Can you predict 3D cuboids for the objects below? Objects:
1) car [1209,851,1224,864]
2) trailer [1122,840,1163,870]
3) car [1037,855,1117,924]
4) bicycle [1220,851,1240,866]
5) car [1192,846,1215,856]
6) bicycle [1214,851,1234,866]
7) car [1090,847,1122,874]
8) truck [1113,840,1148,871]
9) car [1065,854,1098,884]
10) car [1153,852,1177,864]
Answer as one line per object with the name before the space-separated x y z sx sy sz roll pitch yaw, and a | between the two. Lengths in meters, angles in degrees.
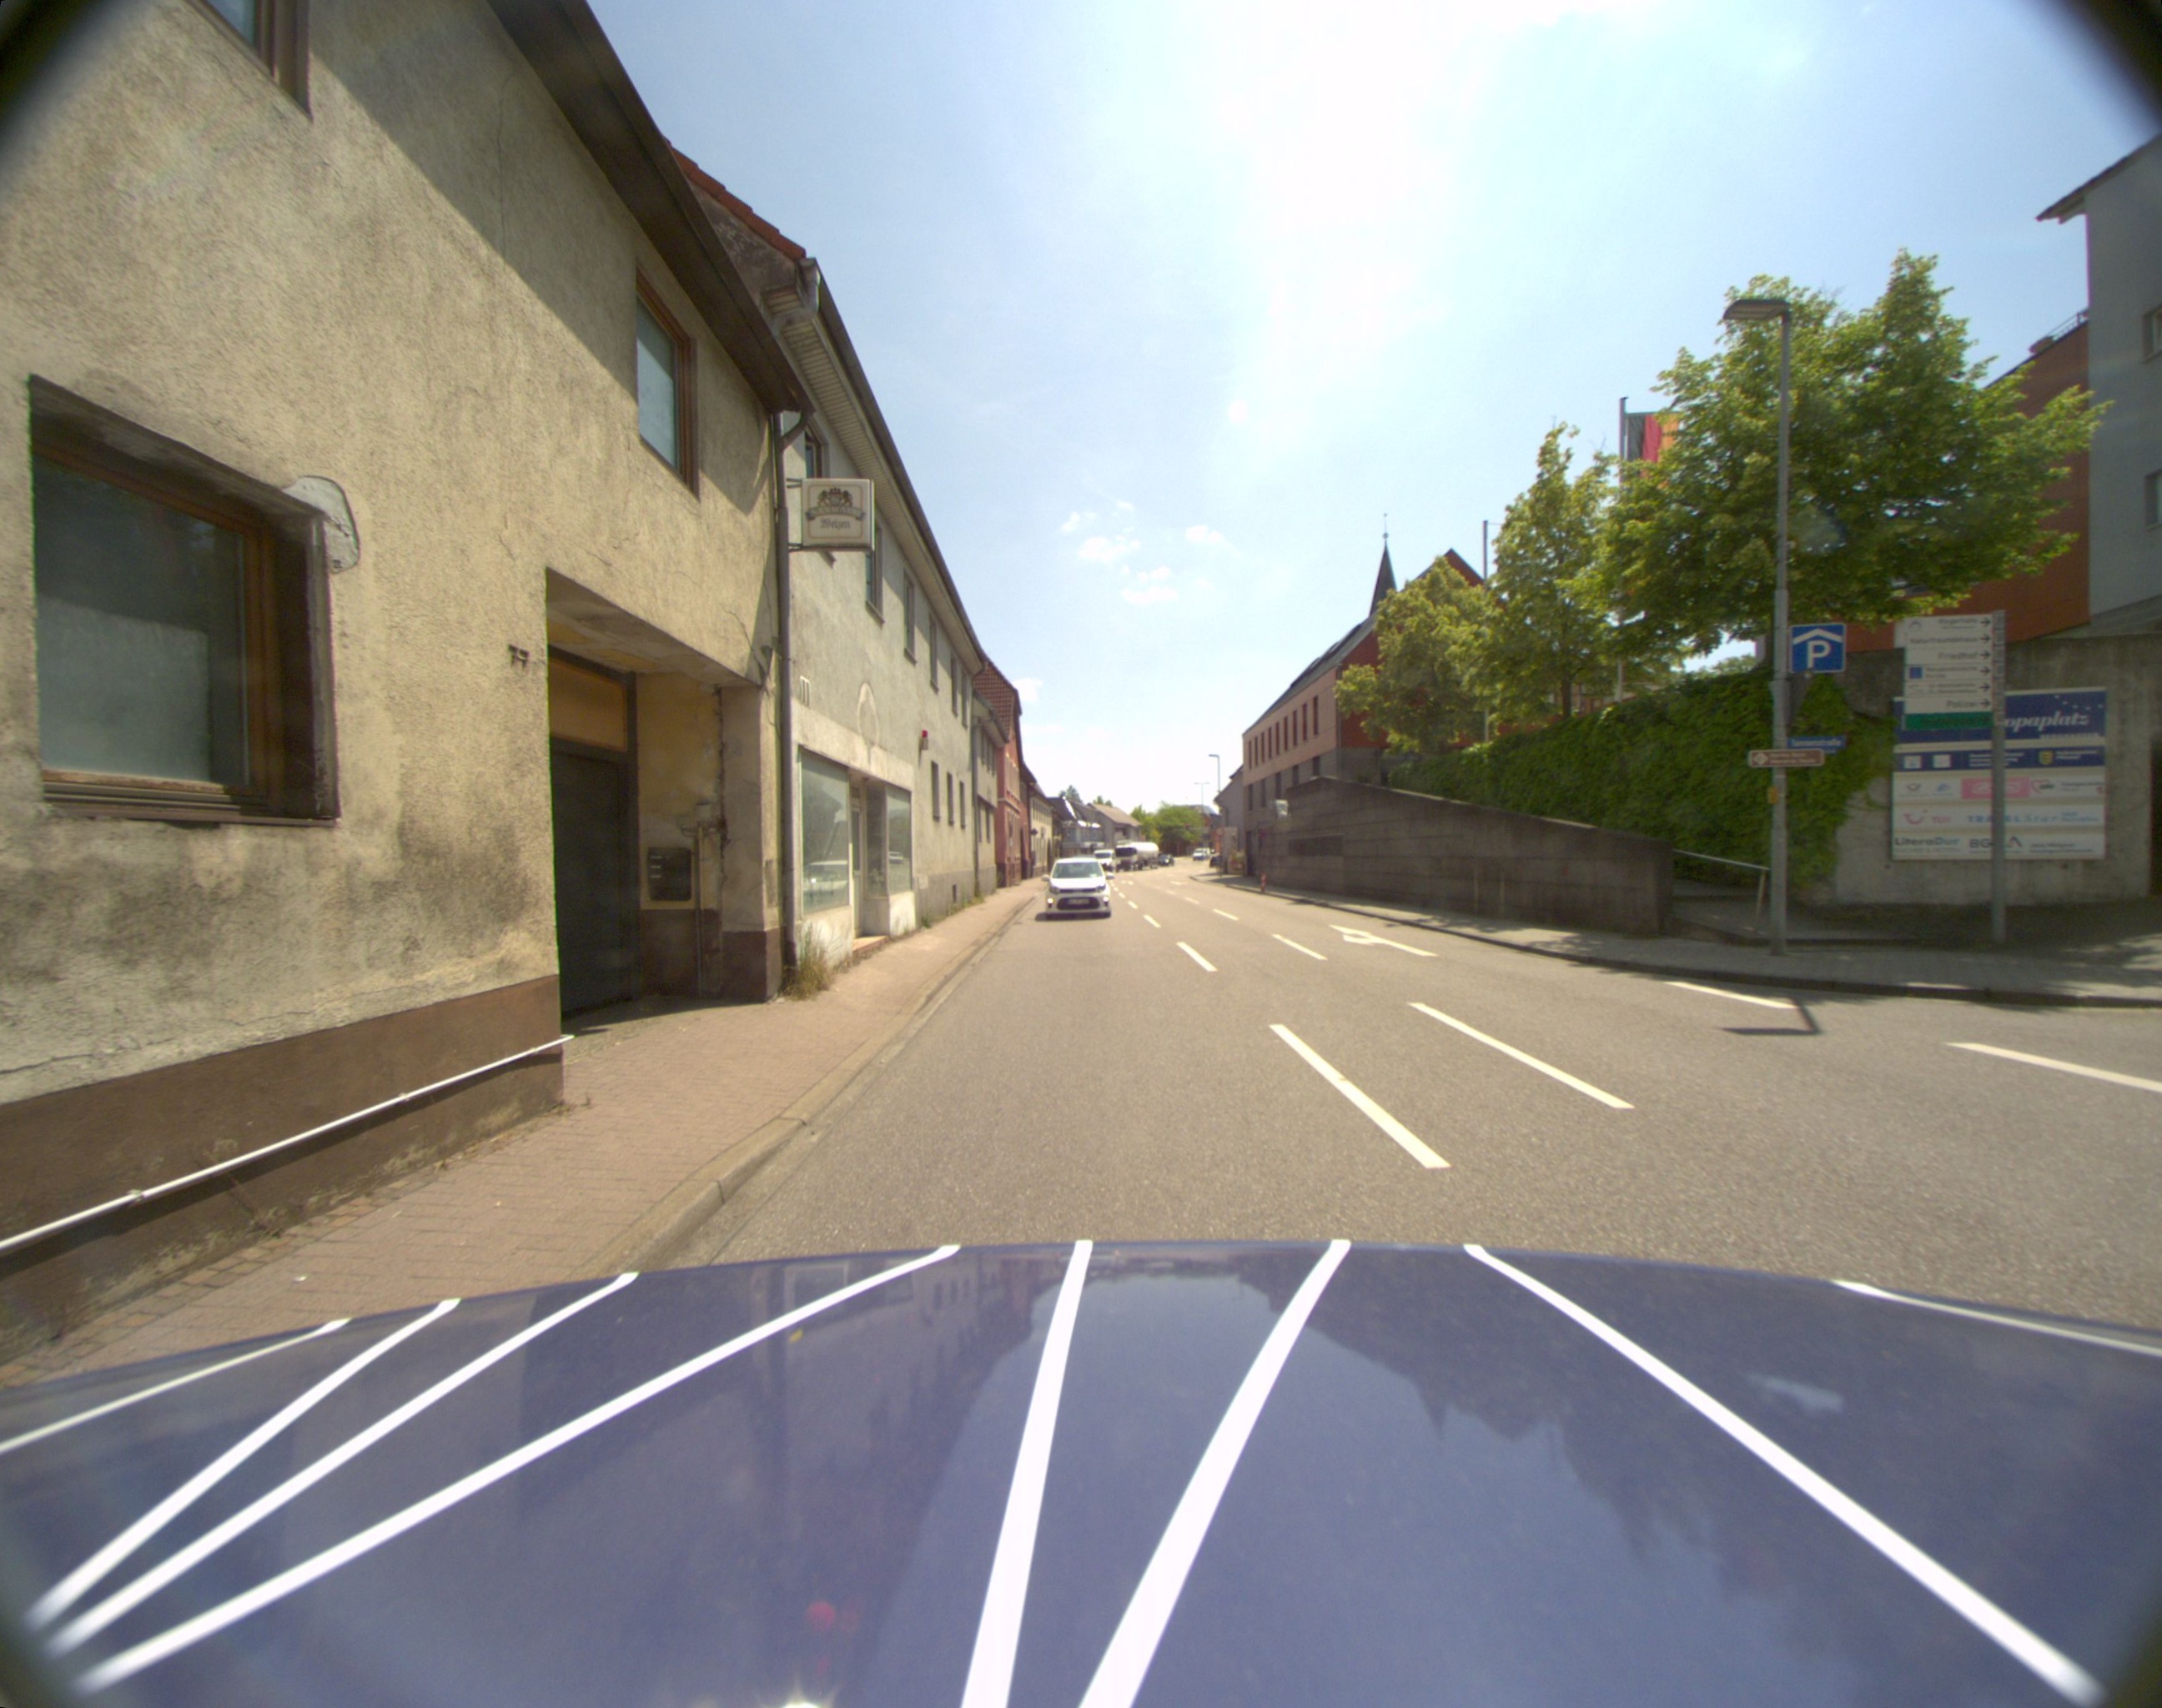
car | 18.170 0.502 101.796 1.672 1.648 4.022 -1 0 14
trailer | 7.930 0.073 96.319 2.834 3.549 10.979 -1 0 18
car | 0.000 0.840 20.160 1.724 1.541 4.304 -3 0 4
bicycle | 13.396 0.432 68.399 1.834 1.241 0.577 -3 -1 -35
car | 20.251 -0.481 125.697 2.007 1.621 4.587 -1 0 34
bicycle | 12.969 0.446 68.891 1.834 1.241 0.577 -3 -1 -35
car | 2.495 0.596 75.323 2.173 2.549 4.829 -1 0 13
truck | 5.912 0.166 89.848 2.844 3.549 5.475 -1 0 18
car | 0.038 0.786 42.844 1.724 1.541 4.303 -3 0 0
car | 11.962 0.597 108.212 2.008 1.621 4.585 -1 0 24
